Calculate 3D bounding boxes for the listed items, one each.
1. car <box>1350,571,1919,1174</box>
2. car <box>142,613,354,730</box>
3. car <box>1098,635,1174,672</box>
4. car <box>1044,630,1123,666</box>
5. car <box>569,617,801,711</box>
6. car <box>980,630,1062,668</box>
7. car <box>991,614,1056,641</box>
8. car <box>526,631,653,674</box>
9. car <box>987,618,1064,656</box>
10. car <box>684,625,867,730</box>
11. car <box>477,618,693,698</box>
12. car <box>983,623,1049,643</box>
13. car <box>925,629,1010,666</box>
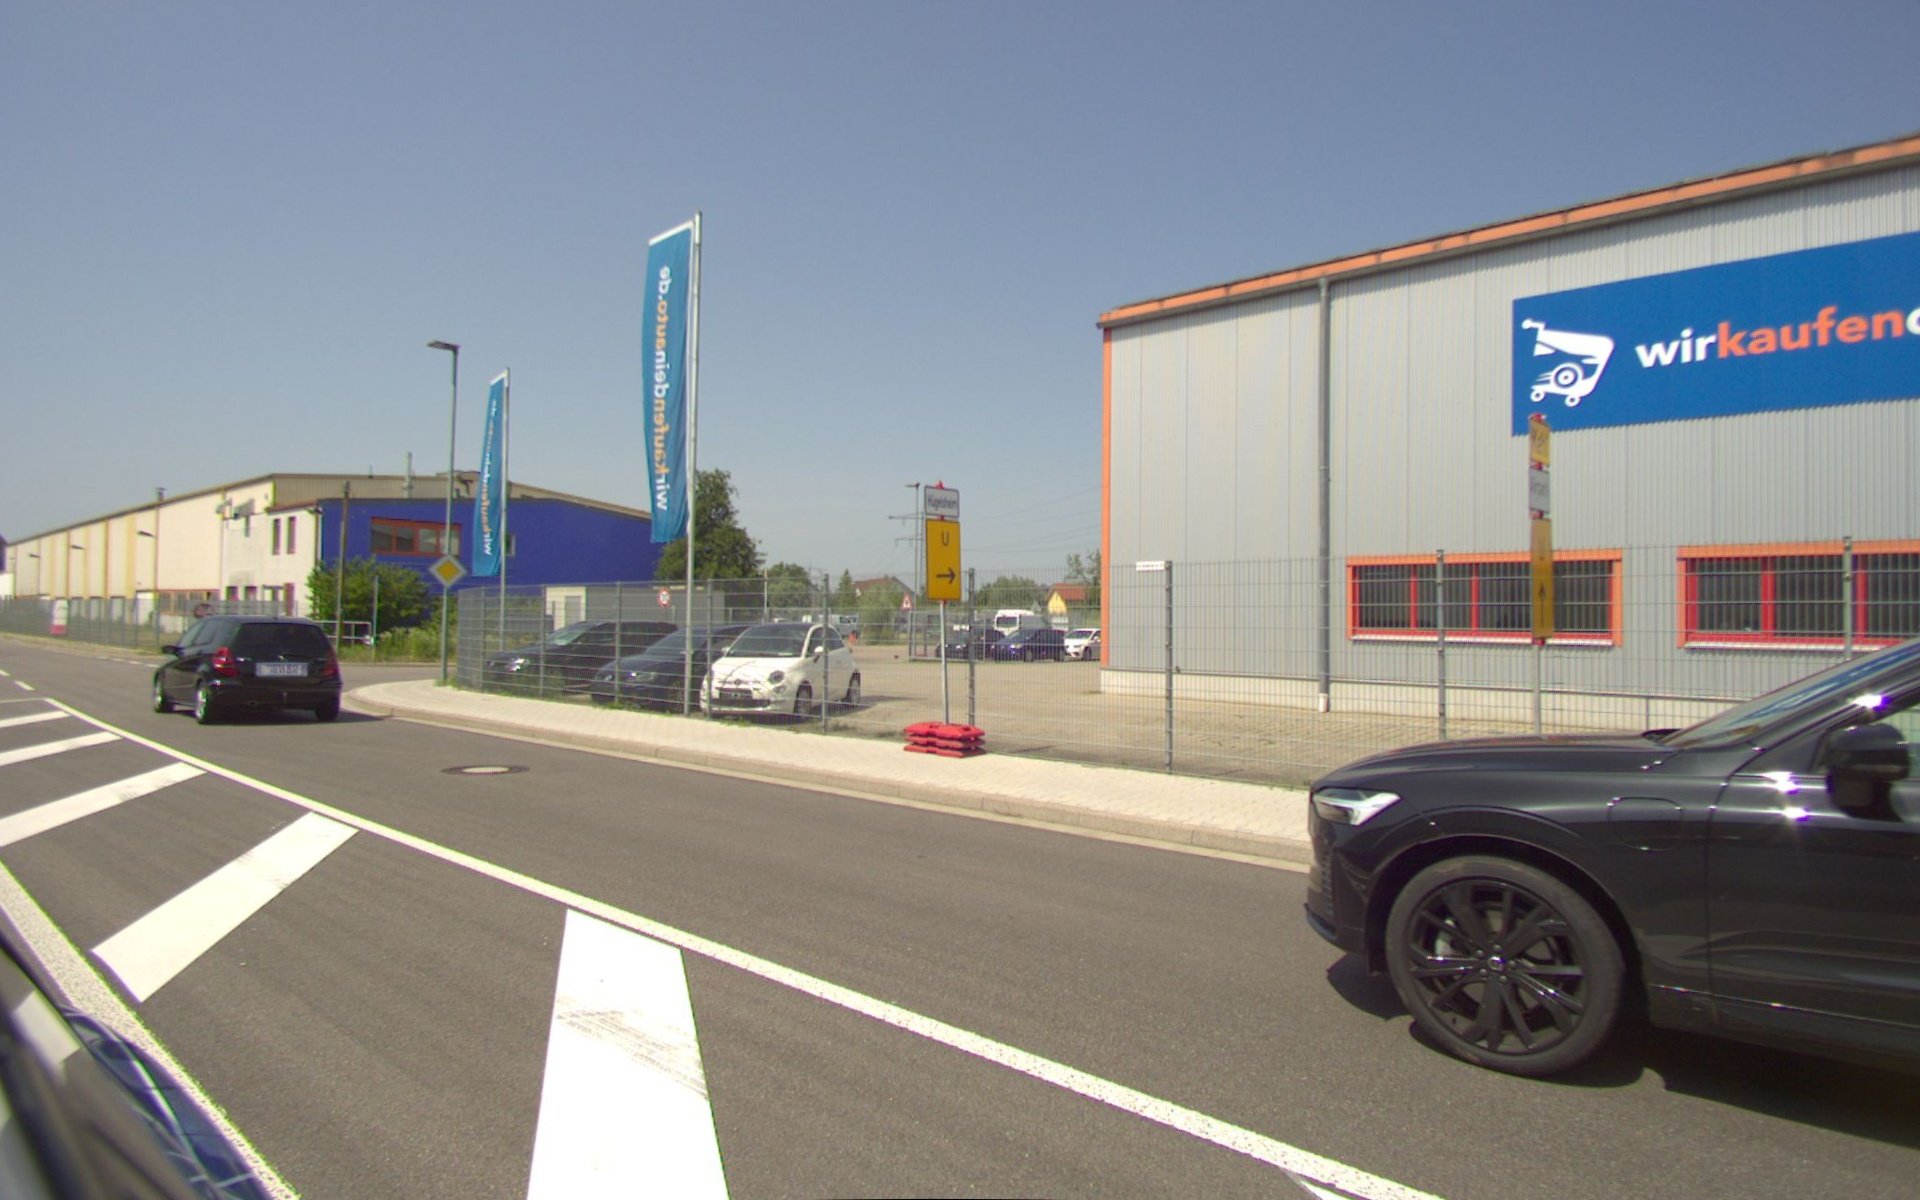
[{"bbox_3d":[3.766,0.785,3.014,4.518,1.629,1.862,-1,-4,40],"label":"car"},{"bbox_3d":[-11.126,1.055,15.738,3.793,1.606,1.724,-1,-4,40],"label":"car"},{"bbox_3d":[7.677,2.291,43.873,1.771,1.514,3.953,-1,-3,34],"label":"car"},{"bbox_3d":[5.633,2.165,45.780,1.772,1.514,3.949,-2,-3,38],"label":"car"},{"bbox_3d":[-4.928,1.129,18.621,1.770,1.514,3.955,-1,-3,33],"label":"car"},{"bbox_3d":[2.624,2.051,42.701,1.771,1.514,3.766,-1,-3,34],"label":"car"},{"bbox_3d":[4.930,2.127,78.669,4.622,2.029,1.985,0,-3,22],"label":"car"},{"bbox_3d":[-13.801,1.935,37.887,1.775,1.514,4.102,-2,-3,43],"label":"car"},{"bbox_3d":[3.763,2.123,57.838,2.007,2.076,4.750,0,-2,39],"label":"car"},{"bbox_3d":[-2.828,1.147,16.247,1.575,1.476,3.470,0,-2,14],"label":"car"},{"bbox_3d":[-7.823,1.186,21.399,1.772,1.514,3.950,-1,-3,37],"label":"car"},{"bbox_3d":[4.197,2.484,75.874,4.553,1.438,1.982,-1,-3,27],"label":"car"},{"bbox_3d":[0.384,2.052,43.620,1.771,1.514,3.953,-1,-3,34],"label":"car"}]
